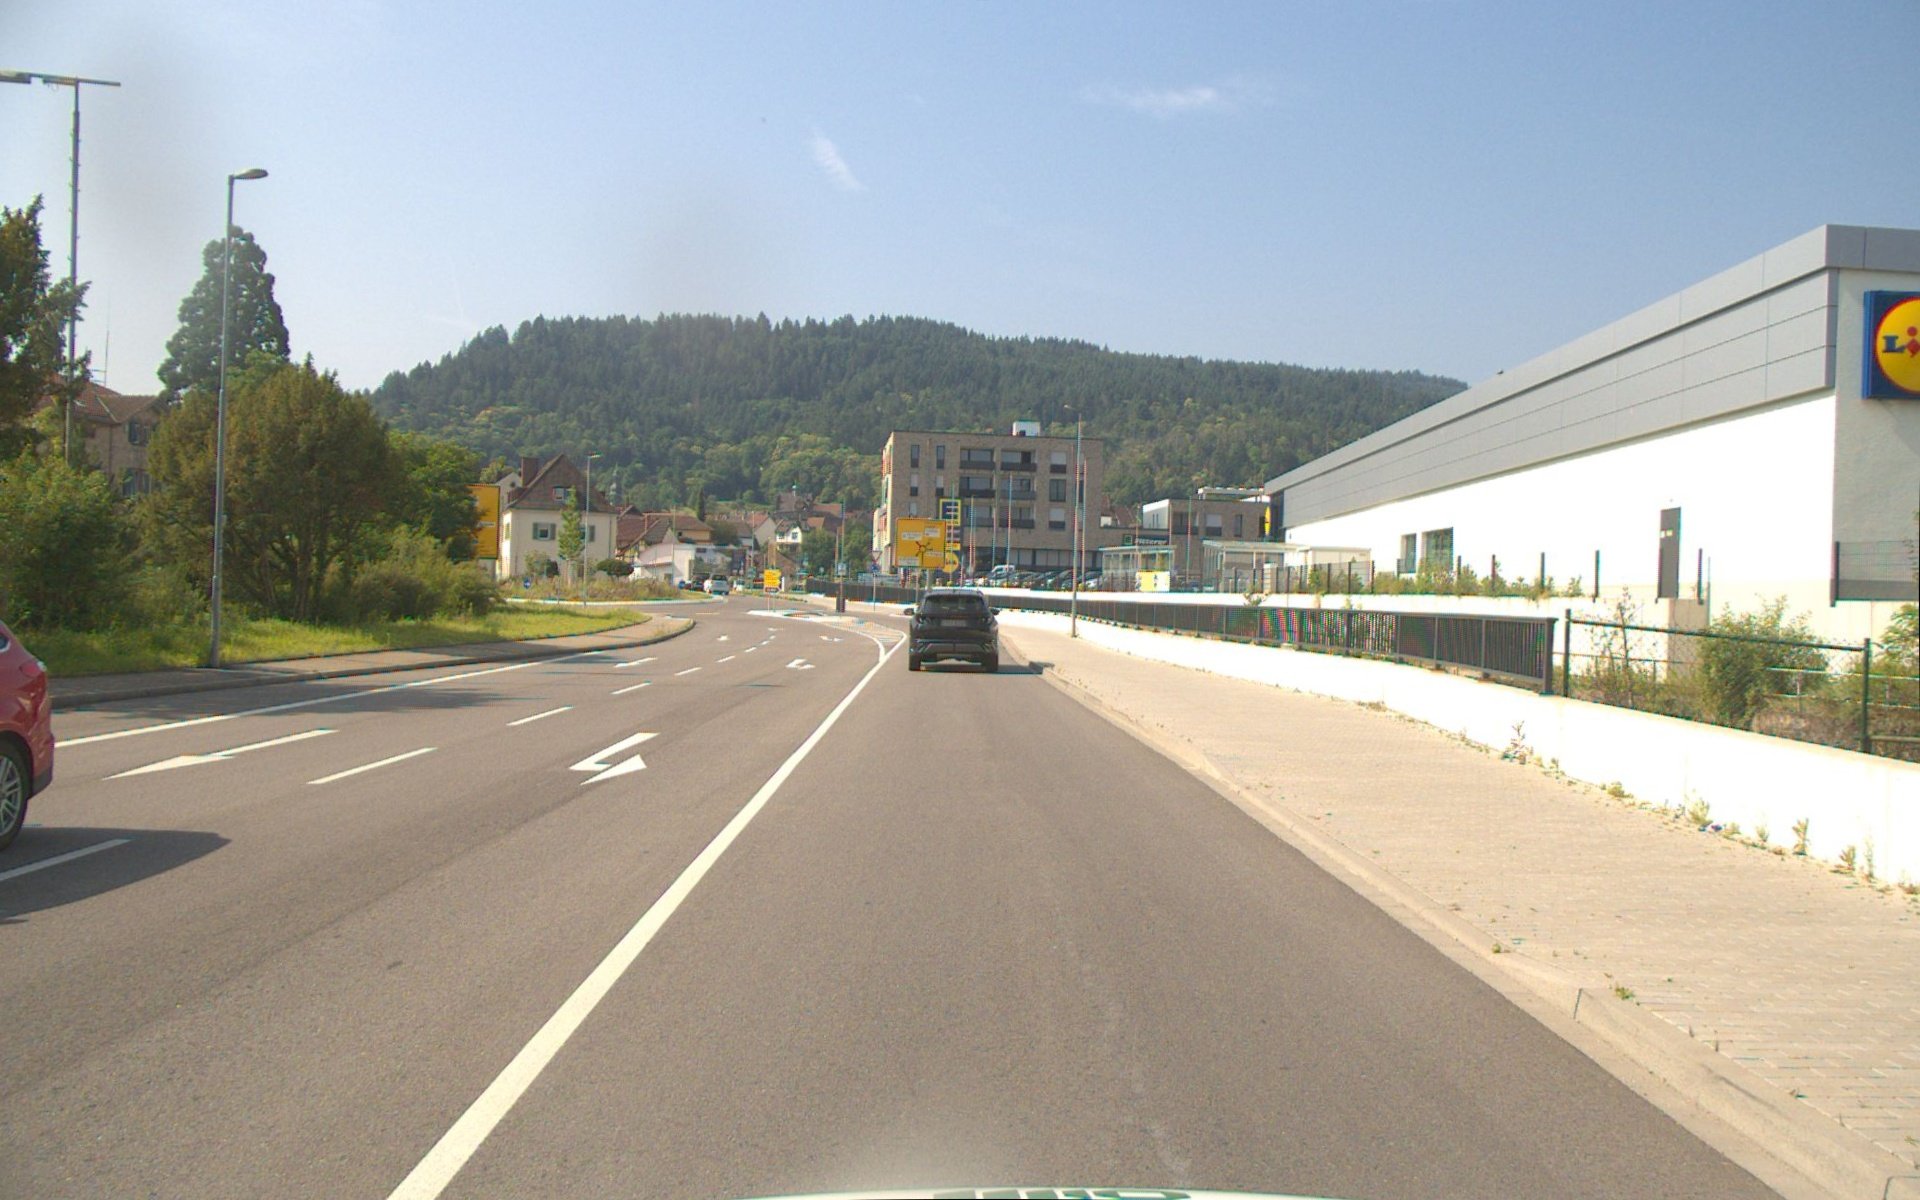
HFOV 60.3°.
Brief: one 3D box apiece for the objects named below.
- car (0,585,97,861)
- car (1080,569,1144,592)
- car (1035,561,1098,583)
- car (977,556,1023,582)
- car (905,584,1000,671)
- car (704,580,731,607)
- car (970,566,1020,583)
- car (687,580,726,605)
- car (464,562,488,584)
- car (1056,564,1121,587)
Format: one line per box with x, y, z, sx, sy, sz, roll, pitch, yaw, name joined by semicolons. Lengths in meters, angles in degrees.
-6.170;0.685;7.941;1.800;1.518;4.431;0;0;-1;car
9.665;-1.214;105.125;3.749;1.388;1.671;1;1;-20;car
7.191;-1.894;111.754;3.945;1.428;1.715;1;1;-20;car
3.405;-2.645;141.584;3.904;2.173;2.001;0;0;2;car
-0.208;0.530;34.803;1.843;1.713;3.998;0;0;-3;car
-18.657;-0.529;127.357;1.955;2.049;3.994;0;0;-7;car
2.656;-1.940;125.765;3.502;1.220;1.705;1;1;-19;car
-21.228;-0.625;138.575;1.951;2.049;4.004;0;0;11;car
-45.361;-2.540;154.980;1.784;2.048;3.975;0;2;-21;car
8.399;-1.608;108.073;4.001;1.428;1.478;1;1;-20;car
